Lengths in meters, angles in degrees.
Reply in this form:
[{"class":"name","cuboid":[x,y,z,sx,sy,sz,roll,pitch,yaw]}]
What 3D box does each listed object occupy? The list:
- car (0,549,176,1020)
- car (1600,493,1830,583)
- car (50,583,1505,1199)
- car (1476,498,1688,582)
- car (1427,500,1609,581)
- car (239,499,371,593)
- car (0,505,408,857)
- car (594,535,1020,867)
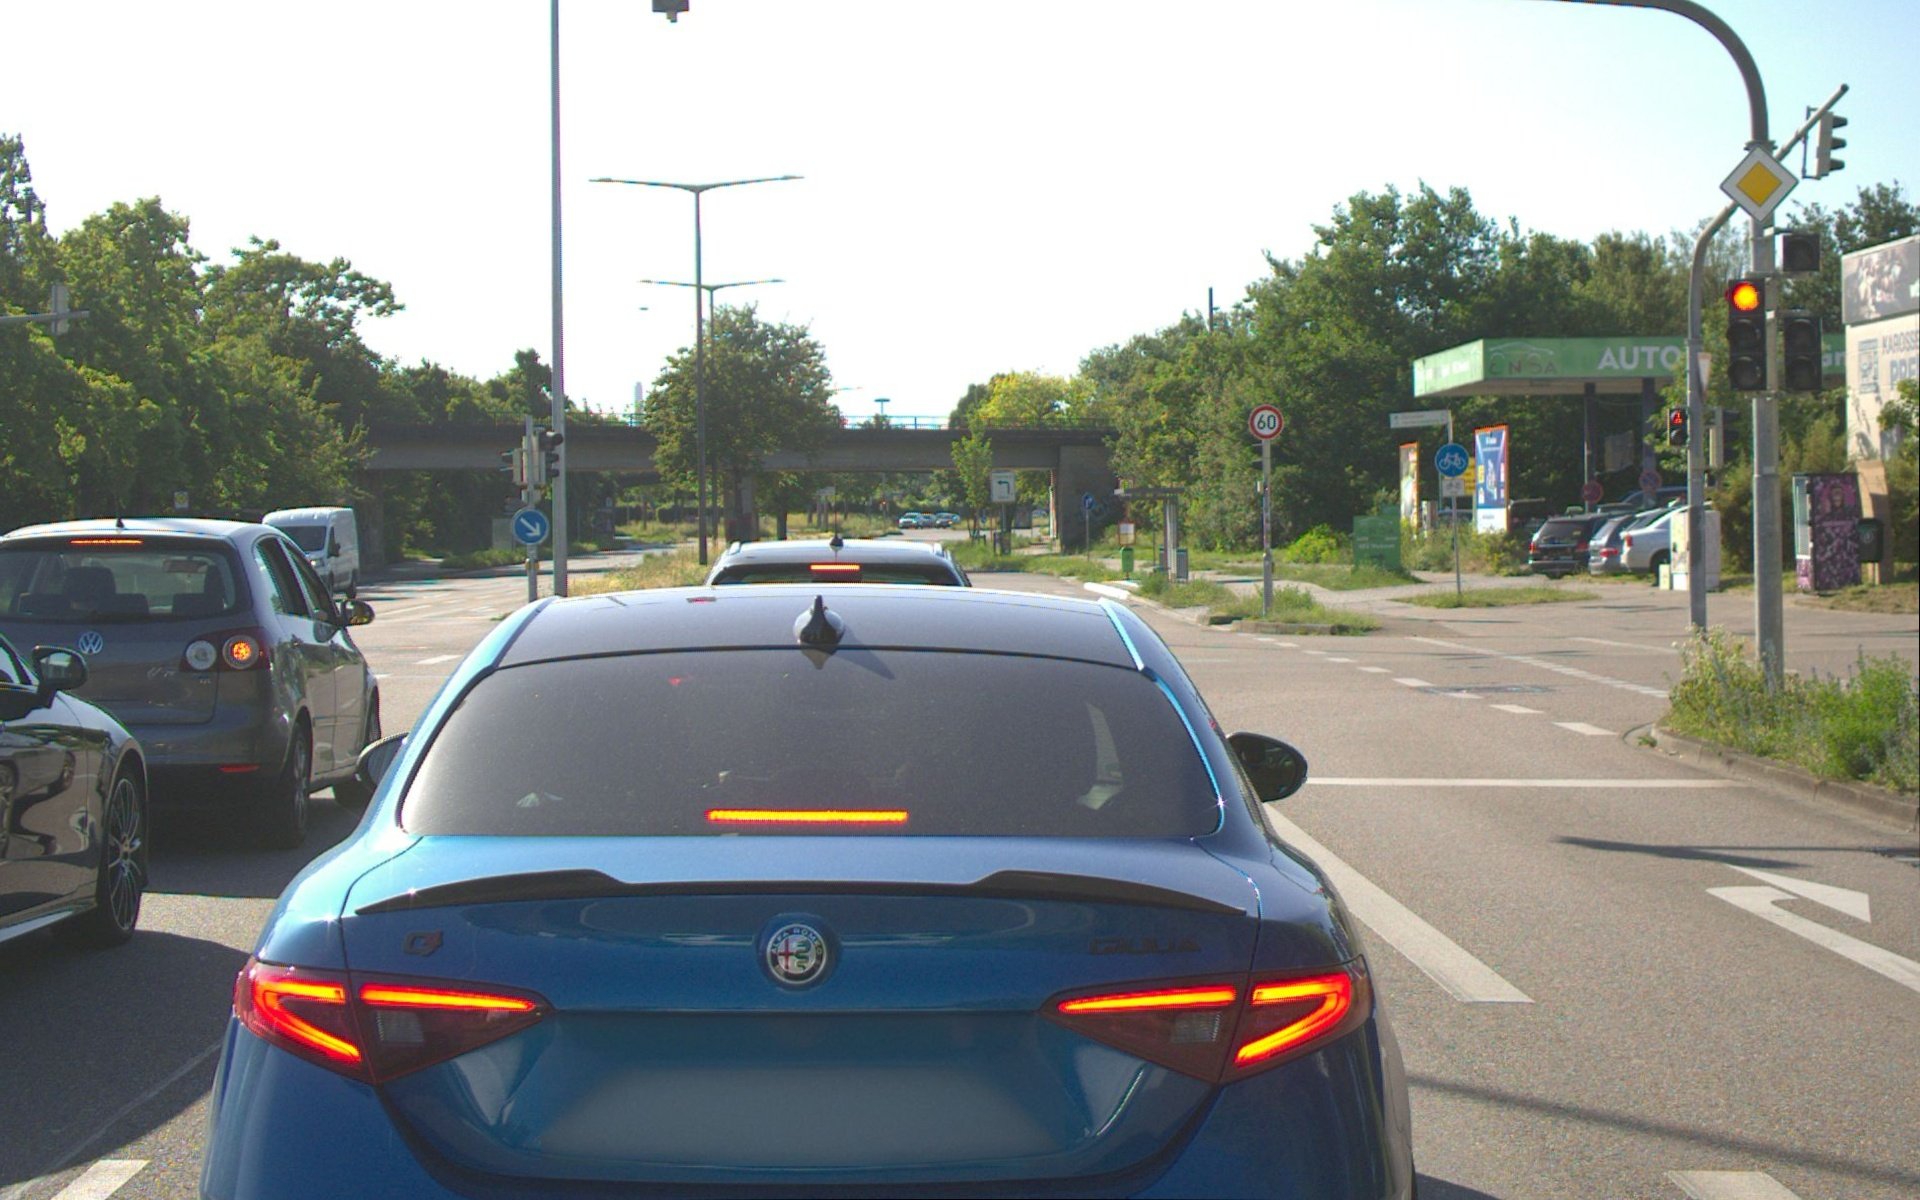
[{"class":"car","cuboid":[-3.802,0.567,10.644,1.768,1.409,4.461,0,1,-1]},{"class":"car","cuboid":[14.518,-1.196,66.110,3.986,1.700,1.696,-1,1,-16]},{"class":"car","cuboid":[-0.258,0.694,6.387,1.866,1.380,3.932,0,1,-1]},{"class":"car","cuboid":[12.827,-1.250,70.965,3.986,1.700,1.696,-1,1,-19]},{"class":"car","cuboid":[12.027,-1.288,74.156,3.483,1.700,1.696,-1,1,-16]},{"class":"car","cuboid":[-17.320,-1.457,91.137,2.431,2.418,5.831,0,1,-1]},{"class":"car","cuboid":[-3.945,0.327,17.561,1.648,1.593,3.932,0,1,-1]},{"class":"car","cuboid":[-0.696,0.408,17.082,1.866,1.445,3.932,0,1,-1]}]
